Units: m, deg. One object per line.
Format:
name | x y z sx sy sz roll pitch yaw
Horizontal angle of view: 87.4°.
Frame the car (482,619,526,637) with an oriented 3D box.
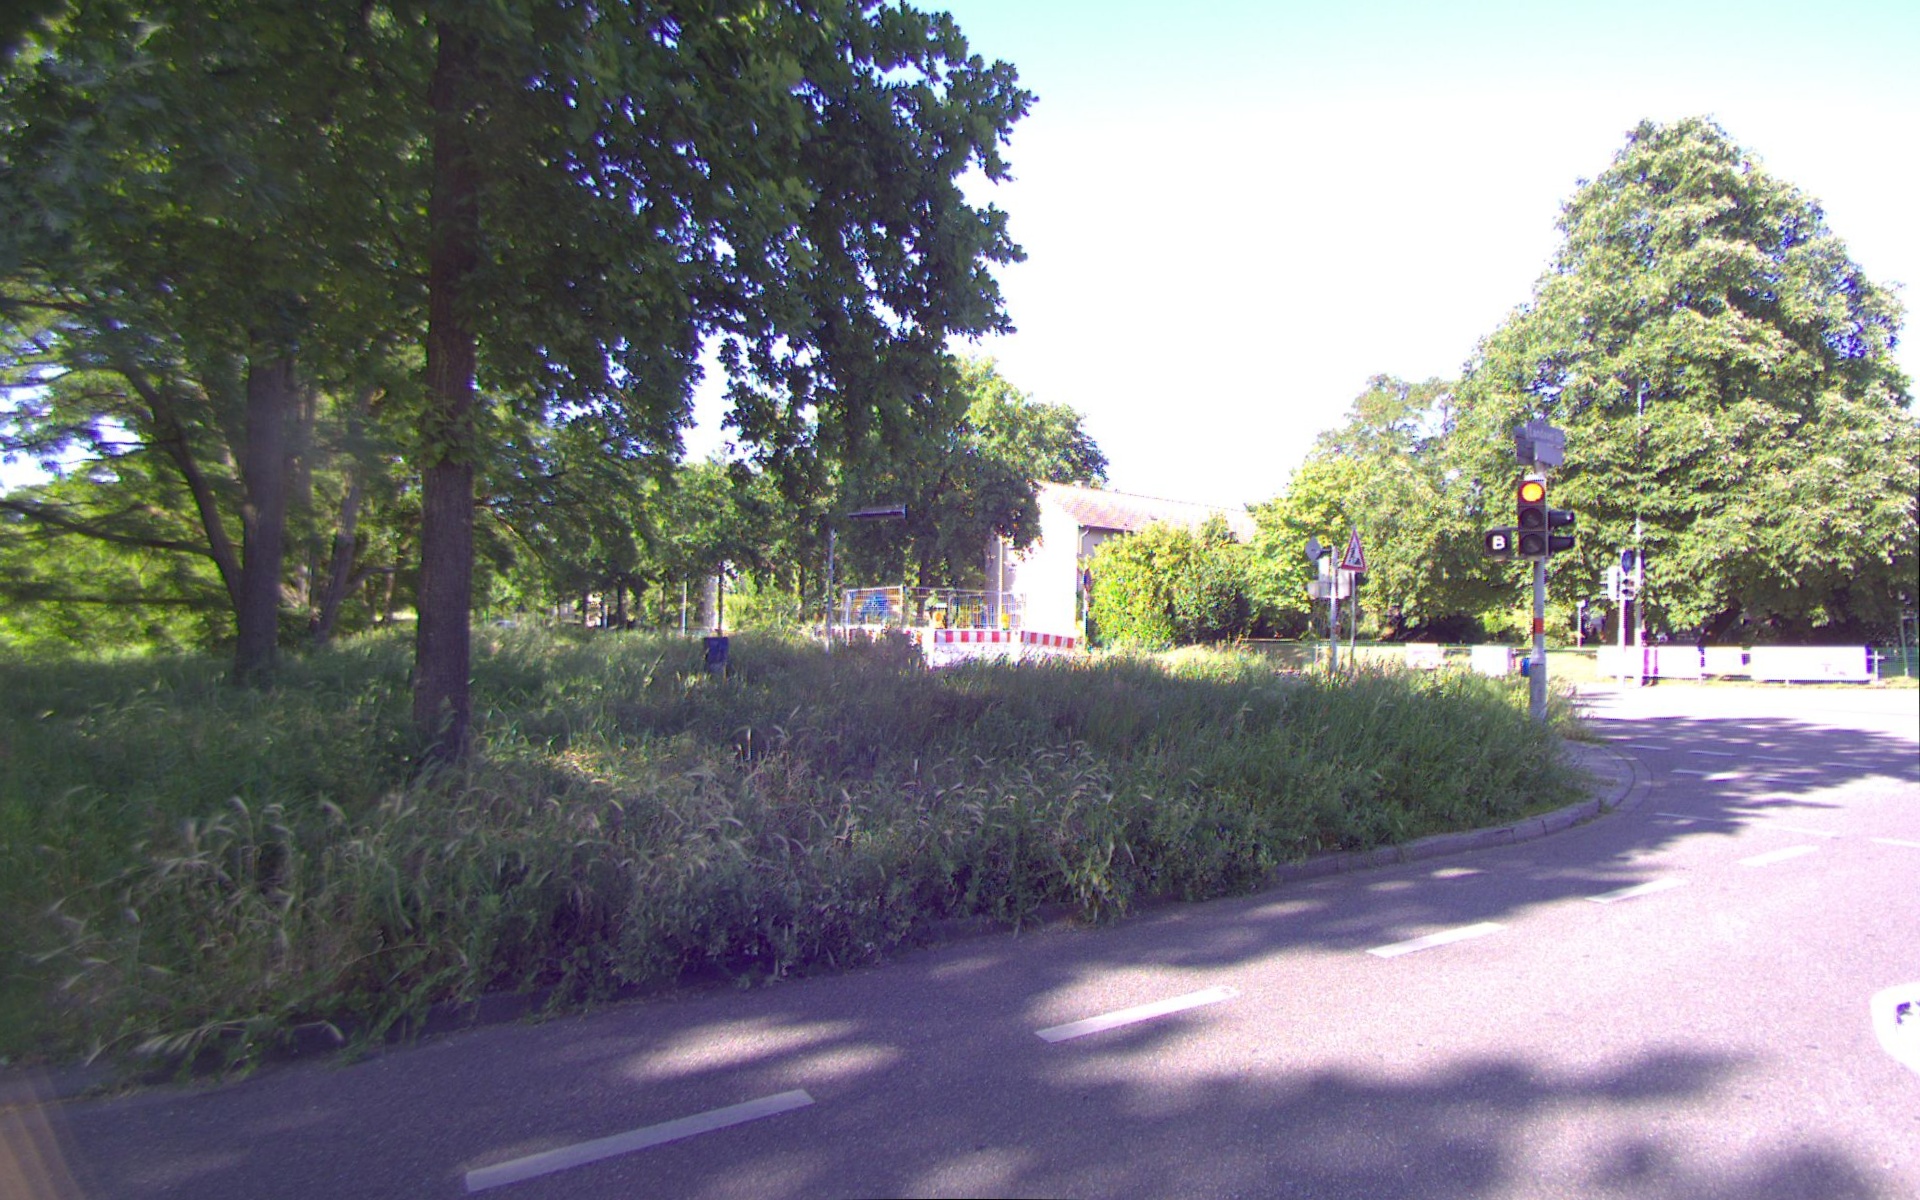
car | -47.372 2.877 104.493 3.939 1.673 1.991 2 0 -20
